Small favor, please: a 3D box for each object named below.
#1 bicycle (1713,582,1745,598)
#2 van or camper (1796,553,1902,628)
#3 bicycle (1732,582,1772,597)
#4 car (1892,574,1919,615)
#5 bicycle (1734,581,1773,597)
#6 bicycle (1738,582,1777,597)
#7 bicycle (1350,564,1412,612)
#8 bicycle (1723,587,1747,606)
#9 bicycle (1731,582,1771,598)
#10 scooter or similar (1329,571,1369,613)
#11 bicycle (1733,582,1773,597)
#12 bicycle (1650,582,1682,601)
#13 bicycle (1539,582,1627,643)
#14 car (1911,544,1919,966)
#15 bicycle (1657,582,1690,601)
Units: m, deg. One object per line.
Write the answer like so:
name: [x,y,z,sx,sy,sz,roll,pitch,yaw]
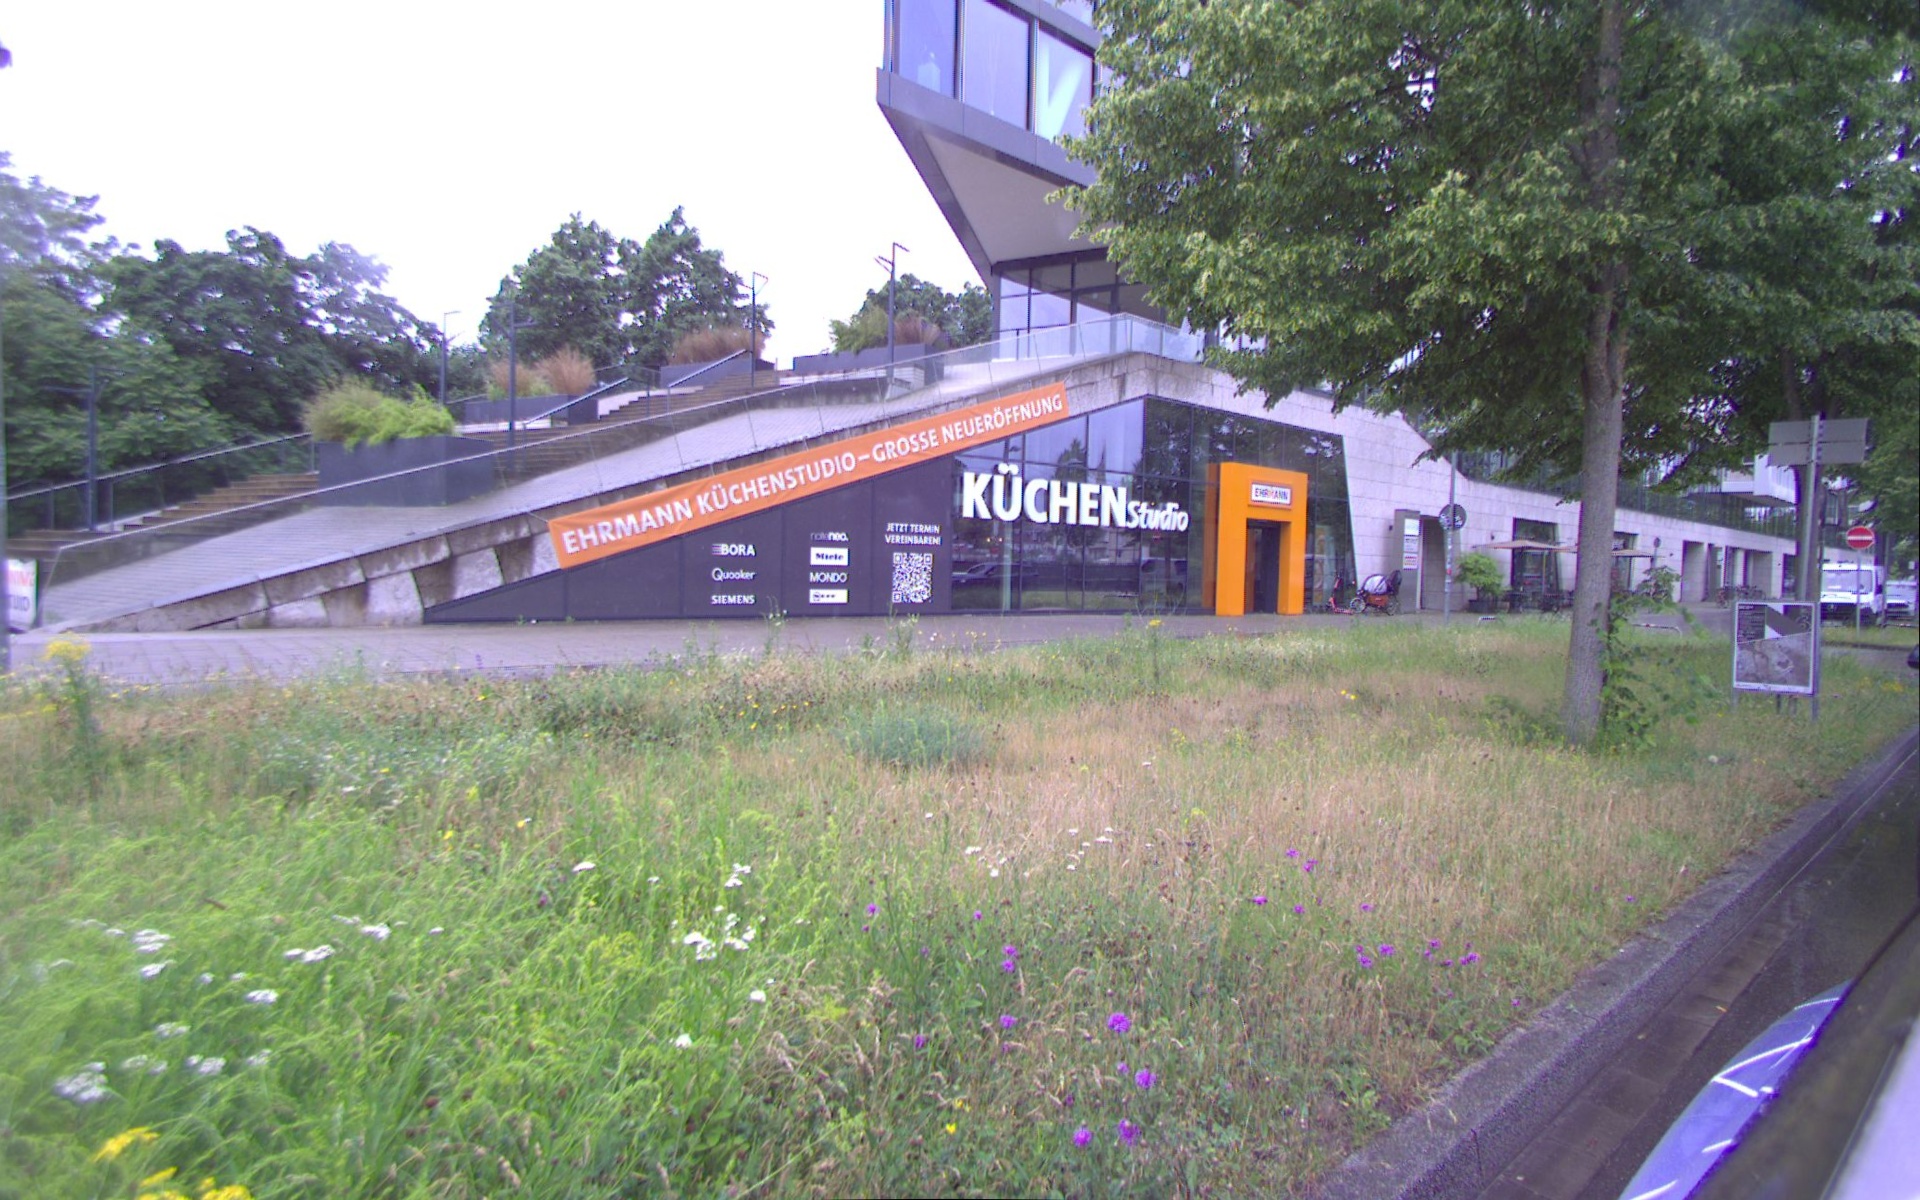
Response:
bicycle: [49.624,-0.670,65.321,0.339,0.957,1.665,0,3,-22]
van or camper: [29.578,-0.367,33.603,5.367,2.320,2.028,-1,2,-42]
bicycle: [53.103,-0.706,67.857,0.389,0.957,2.025,-1,4,-45]
car: [43.578,-0.272,45.722,4.766,1.781,1.744,-1,2,-42]
bicycle: [53.885,-0.737,68.709,0.389,0.957,2.025,-1,4,-45]
bicycle: [54.781,-0.746,69.552,0.389,0.957,2.025,-1,4,-45]
bicycle: [13.181,-0.375,31.666,2.382,1.419,0.734,0,3,-41]
bicycle: [40.200,-0.193,52.483,1.823,0.957,0.403,-1,2,-34]
bicycle: [52.652,-0.698,67.394,0.389,0.957,2.025,-1,4,-45]
scooter or similar: [11.775,-0.247,30.644,1.214,1.243,0.343,-1,0,-22]
bicycle: [53.493,-0.716,68.295,0.389,0.957,2.025,-1,4,-45]
bicycle: [36.610,-0.448,52.500,0.388,0.958,2.028,-1,1,4]
bicycle: [14.580,0.275,23.744,0.521,1.363,1.852,2,1,-16]
car: [5.765,0.562,4.519,3.930,1.632,1.814,-1,1,-41]
bicycle: [37.229,-0.460,52.793,0.388,0.958,2.028,-1,1,4]
